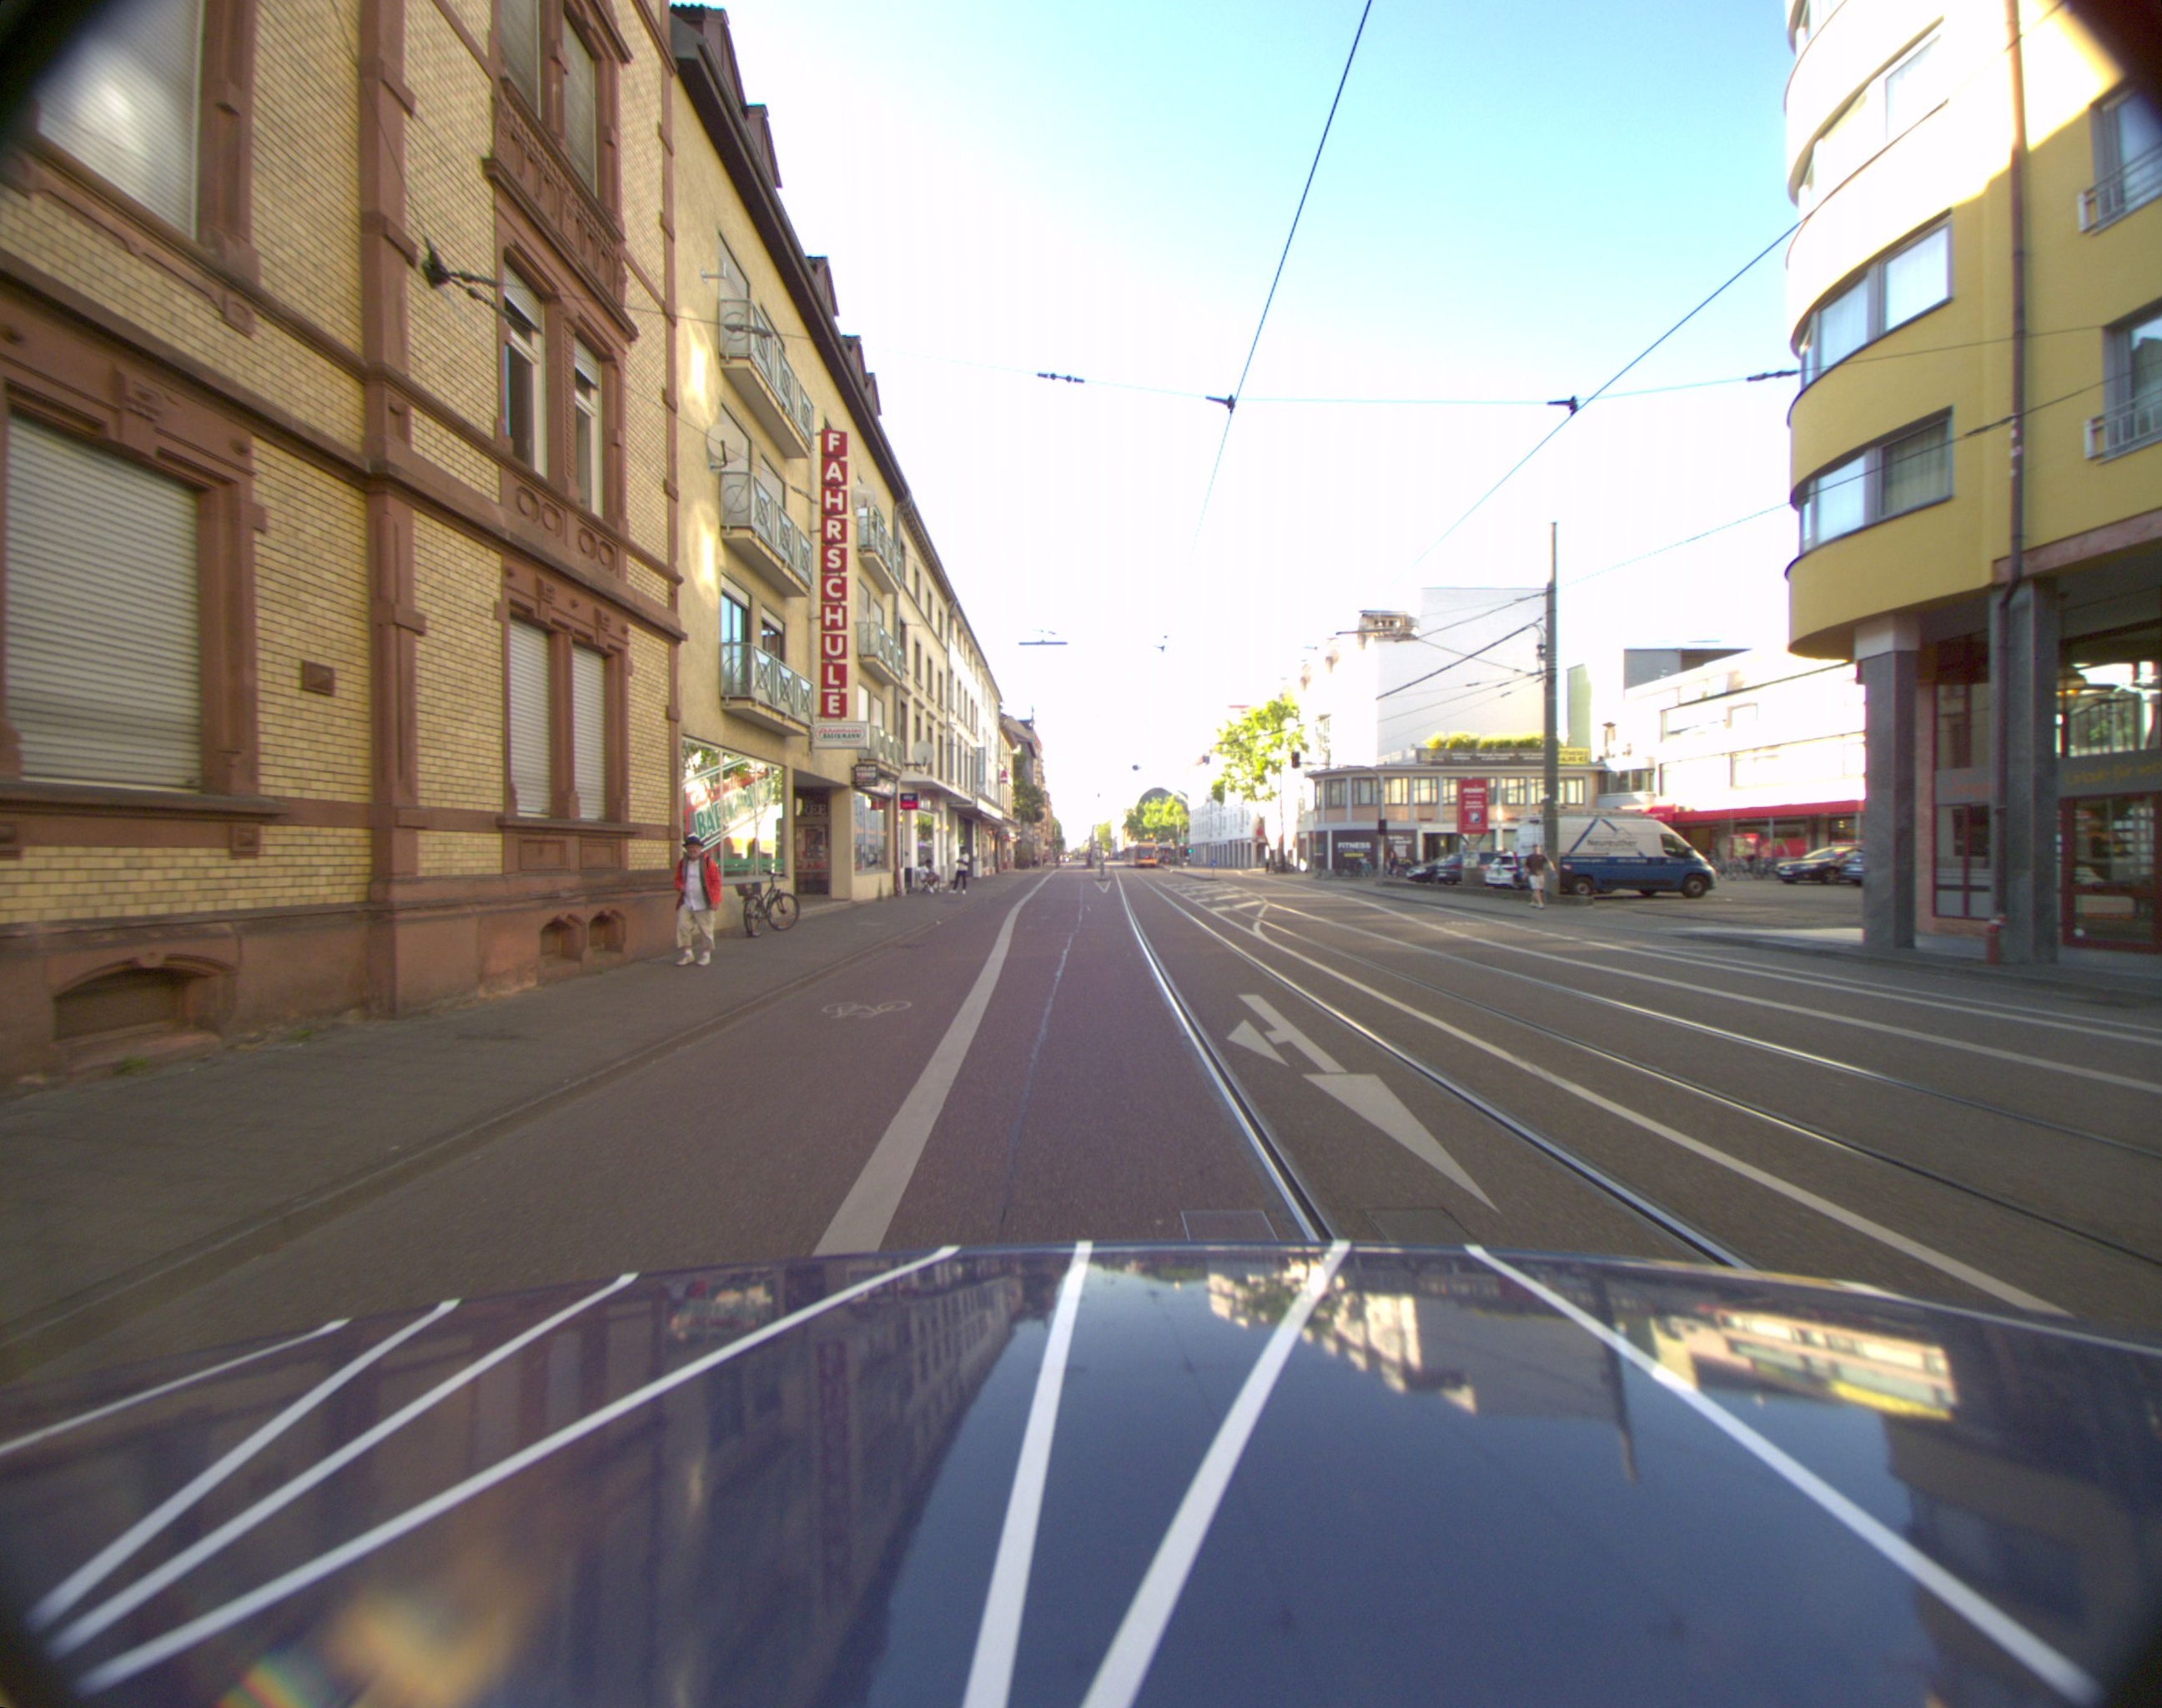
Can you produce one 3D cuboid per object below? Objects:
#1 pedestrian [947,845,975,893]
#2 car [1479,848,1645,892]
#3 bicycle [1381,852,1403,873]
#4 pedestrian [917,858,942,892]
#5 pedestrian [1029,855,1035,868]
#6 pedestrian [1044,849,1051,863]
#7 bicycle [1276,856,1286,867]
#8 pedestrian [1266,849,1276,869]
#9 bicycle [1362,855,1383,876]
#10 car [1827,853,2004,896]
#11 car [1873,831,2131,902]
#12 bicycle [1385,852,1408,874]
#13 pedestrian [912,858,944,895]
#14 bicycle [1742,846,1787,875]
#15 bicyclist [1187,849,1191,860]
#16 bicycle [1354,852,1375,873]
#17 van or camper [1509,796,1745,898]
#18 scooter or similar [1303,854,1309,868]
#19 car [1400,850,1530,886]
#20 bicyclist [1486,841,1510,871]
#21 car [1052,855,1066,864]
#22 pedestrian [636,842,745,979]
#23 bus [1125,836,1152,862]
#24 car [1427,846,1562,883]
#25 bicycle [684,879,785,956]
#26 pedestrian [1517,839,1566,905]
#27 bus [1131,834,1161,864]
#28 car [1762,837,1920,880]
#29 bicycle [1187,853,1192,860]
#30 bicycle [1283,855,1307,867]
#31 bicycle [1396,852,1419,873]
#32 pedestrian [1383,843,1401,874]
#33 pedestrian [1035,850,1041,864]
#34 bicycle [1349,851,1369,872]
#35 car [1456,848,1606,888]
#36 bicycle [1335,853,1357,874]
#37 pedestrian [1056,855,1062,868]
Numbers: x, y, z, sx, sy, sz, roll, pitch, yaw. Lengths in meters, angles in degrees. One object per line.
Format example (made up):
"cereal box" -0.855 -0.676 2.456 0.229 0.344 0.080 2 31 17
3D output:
"pedestrian" -4.630 0.584 29.322 0.705 1.801 0.680 5 0 15
"car" 16.598 0.531 26.382 4.600 1.467 1.879 0 0 0
"bicycle" 17.457 0.475 42.690 0.449 1.180 1.831 0 0 -3
"pedestrian" -5.751 0.784 28.767 0.708 1.168 1.014 5 0 -19
"pedestrian" -5.899 0.852 90.763 0.651 1.569 0.682 -1 1 -7
"pedestrian" -4.253 0.246 96.083 0.807 1.789 0.761 0 1 0
"bicycle" 16.508 0.626 62.793 0.389 0.907 1.851 -2 0 1
"pedestrian" 16.044 0.420 64.013 0.630 1.706 0.826 0 1 27
"bicycle" 16.751 0.626 43.678 0.444 1.180 1.831 0 0 -3
"car" 28.621 0.669 26.144 3.998 1.346 1.999 -1 1 -2
"car" 24.806 0.306 20.746 1.999 1.726 4.119 0 0 -2
"bicycle" 17.882 0.507 43.040 0.449 1.180 1.831 0 0 -3
"pedestrian" -5.591 0.812 27.756 0.832 1.248 0.705 5 0 -35
"bicycle" 28.833 0.255 32.070 0.432 1.181 1.832 0 1 7
"bicyclist" 17.523 0.067 123.231 0.514 1.690 0.807 -2 1 1
"bicycle" 16.337 0.470 43.808 0.449 1.180 1.831 0 0 -3
"van or camper" 16.945 -0.196 23.844 5.620 2.810 2.315 -3 0 1
"scooter or similar" 18.082 0.543 60.981 0.335 1.105 1.182 0 1 23
"car" 17.218 0.631 34.222 4.907 1.574 1.879 0 0 0
"bicyclist" 21.528 0.090 39.227 0.838 1.540 0.690 0 1 -17
"car" -3.258 0.827 113.014 1.969 1.302 4.000 0 0 0
"pedestrian" -4.965 0.702 9.720 0.799 1.618 0.826 5 -1 6
"bus" 8.203 -0.755 110.345 2.818 3.547 13.677 0 0 0
"car" 17.084 0.442 31.539 4.600 1.467 1.879 0 0 0
"bicycle" -5.645 0.992 12.544 0.556 1.055 2.311 2 0 0
"pedestrian" 12.901 0.495 21.299 0.835 1.822 0.909 0 0 -1
"bus" 8.150 -0.677 96.921 2.818 3.547 13.678 0 0 1
"car" 28.246 0.158 28.348 3.998 1.499 1.999 -1 1 -2
"bicycle" 17.578 0.424 123.316 0.518 0.983 1.727 -2 1 1
"bicycle" 17.732 0.595 62.960 1.849 0.906 0.390 -2 -2 5
"bicycle" 18.515 0.465 43.165 0.449 1.180 1.831 0 0 -3
"pedestrian" 17.386 0.241 42.490 0.682 1.687 0.683 0 0 -2
"pedestrian" -5.315 0.406 94.831 0.650 1.760 0.697 0 1 5
"bicycle" 15.924 0.426 43.608 0.441 1.180 1.831 0 0 -1
"car" 17.049 0.521 28.942 4.600 1.467 1.879 0 0 0
"bicycle" 15.415 0.528 44.203 0.447 1.180 1.830 0 0 -6
"pedestrian" -2.956 1.039 102.289 0.694 1.760 0.697 0 1 5
